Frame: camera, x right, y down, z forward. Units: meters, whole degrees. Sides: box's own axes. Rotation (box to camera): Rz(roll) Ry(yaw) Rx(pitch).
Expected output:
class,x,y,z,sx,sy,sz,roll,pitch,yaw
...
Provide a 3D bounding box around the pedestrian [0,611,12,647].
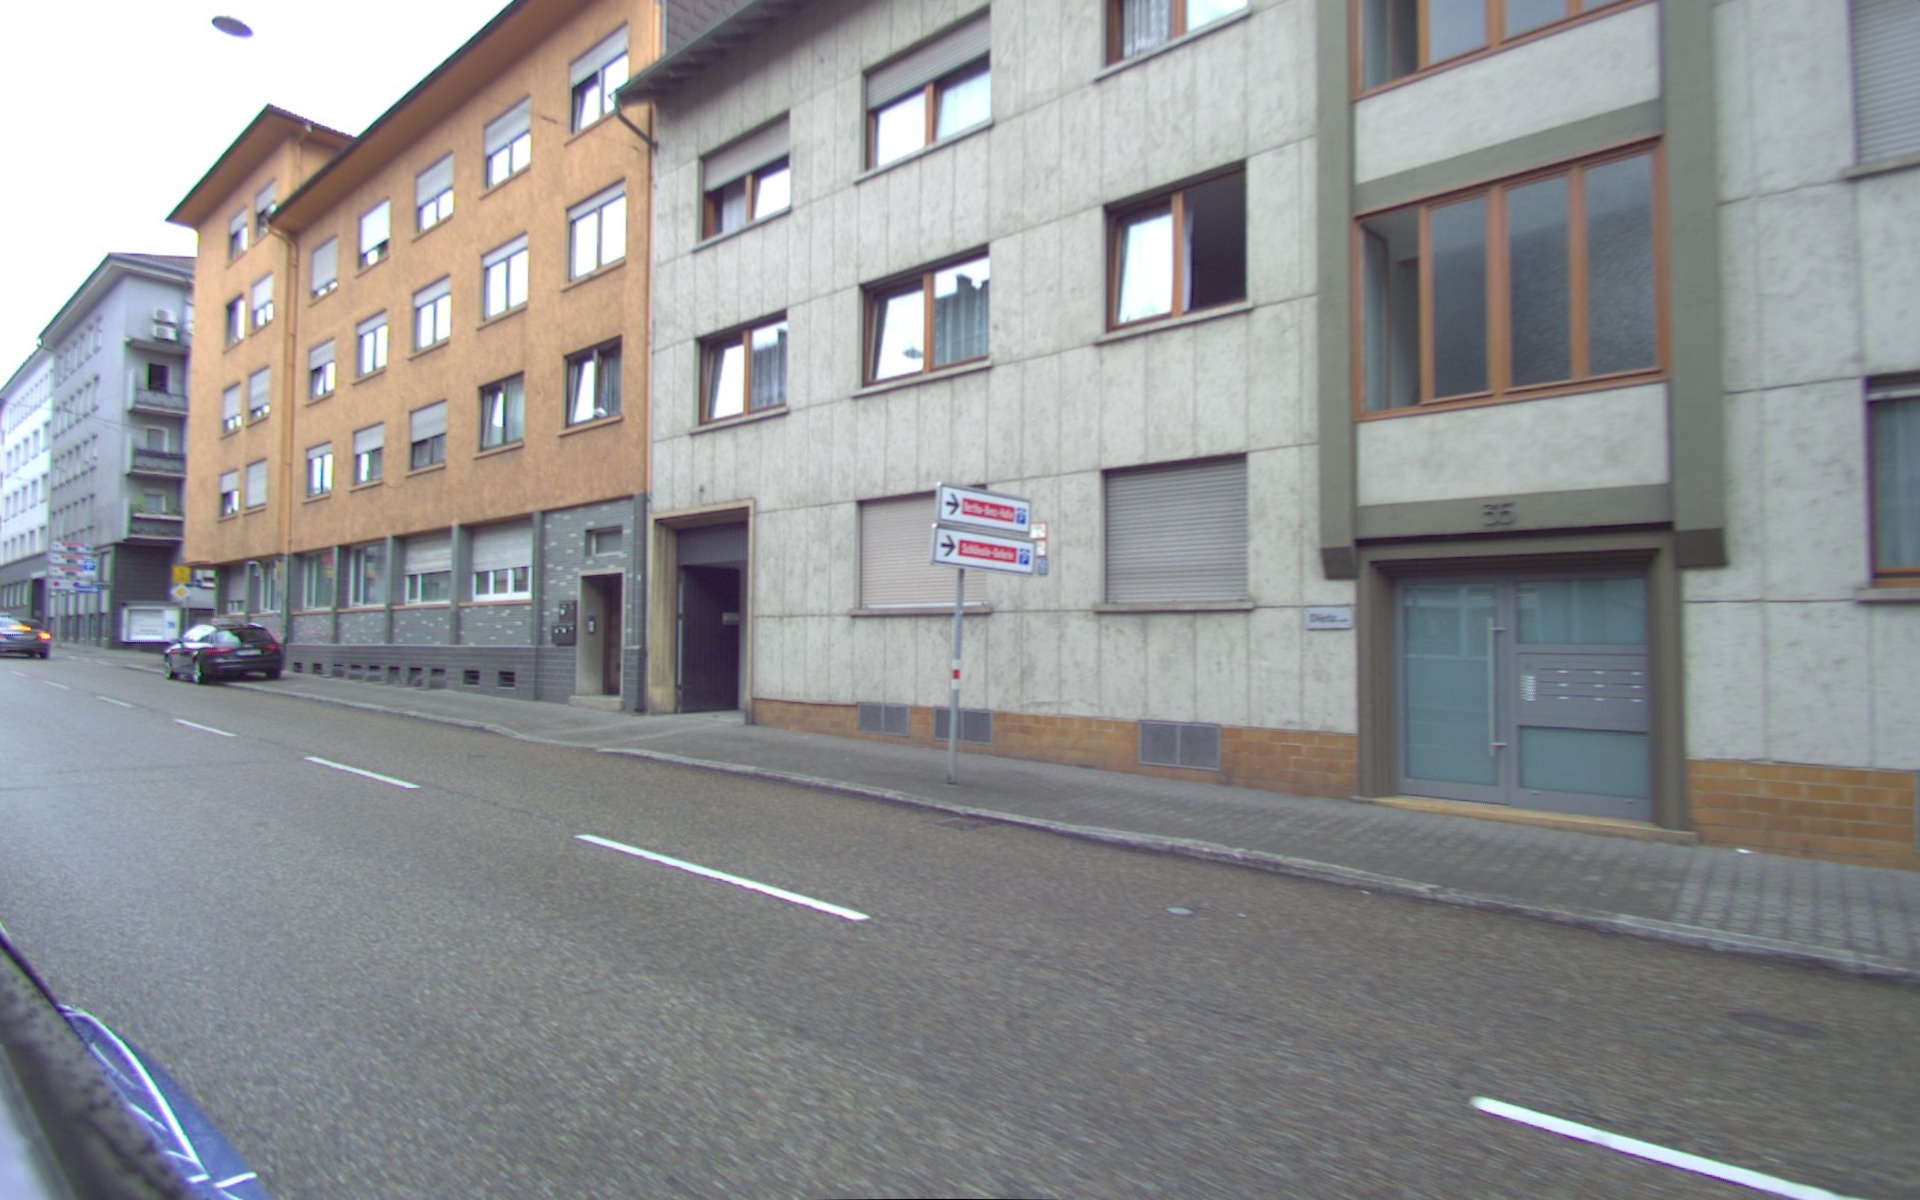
class,x,y,z,sx,sy,sz,roll,pitch,yaw
pedestrian,-55.690,1.658,58.376,1.258,2.029,1.292,0,1,41

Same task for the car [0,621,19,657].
class,x,y,z,sx,sy,sz,roll,pitch,yaw
car,-40.886,1.577,42.269,4.370,1.484,1.705,-1,-4,40

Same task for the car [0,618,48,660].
class,x,y,z,sx,sy,sz,roll,pitch,yaw
car,-34.696,1.359,36.721,4.362,1.381,1.678,0,-4,40

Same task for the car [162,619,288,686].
class,x,y,z,sx,sy,sz,roll,pitch,yaw
car,-19.146,1.296,26.297,4.216,1.485,1.776,0,1,41
